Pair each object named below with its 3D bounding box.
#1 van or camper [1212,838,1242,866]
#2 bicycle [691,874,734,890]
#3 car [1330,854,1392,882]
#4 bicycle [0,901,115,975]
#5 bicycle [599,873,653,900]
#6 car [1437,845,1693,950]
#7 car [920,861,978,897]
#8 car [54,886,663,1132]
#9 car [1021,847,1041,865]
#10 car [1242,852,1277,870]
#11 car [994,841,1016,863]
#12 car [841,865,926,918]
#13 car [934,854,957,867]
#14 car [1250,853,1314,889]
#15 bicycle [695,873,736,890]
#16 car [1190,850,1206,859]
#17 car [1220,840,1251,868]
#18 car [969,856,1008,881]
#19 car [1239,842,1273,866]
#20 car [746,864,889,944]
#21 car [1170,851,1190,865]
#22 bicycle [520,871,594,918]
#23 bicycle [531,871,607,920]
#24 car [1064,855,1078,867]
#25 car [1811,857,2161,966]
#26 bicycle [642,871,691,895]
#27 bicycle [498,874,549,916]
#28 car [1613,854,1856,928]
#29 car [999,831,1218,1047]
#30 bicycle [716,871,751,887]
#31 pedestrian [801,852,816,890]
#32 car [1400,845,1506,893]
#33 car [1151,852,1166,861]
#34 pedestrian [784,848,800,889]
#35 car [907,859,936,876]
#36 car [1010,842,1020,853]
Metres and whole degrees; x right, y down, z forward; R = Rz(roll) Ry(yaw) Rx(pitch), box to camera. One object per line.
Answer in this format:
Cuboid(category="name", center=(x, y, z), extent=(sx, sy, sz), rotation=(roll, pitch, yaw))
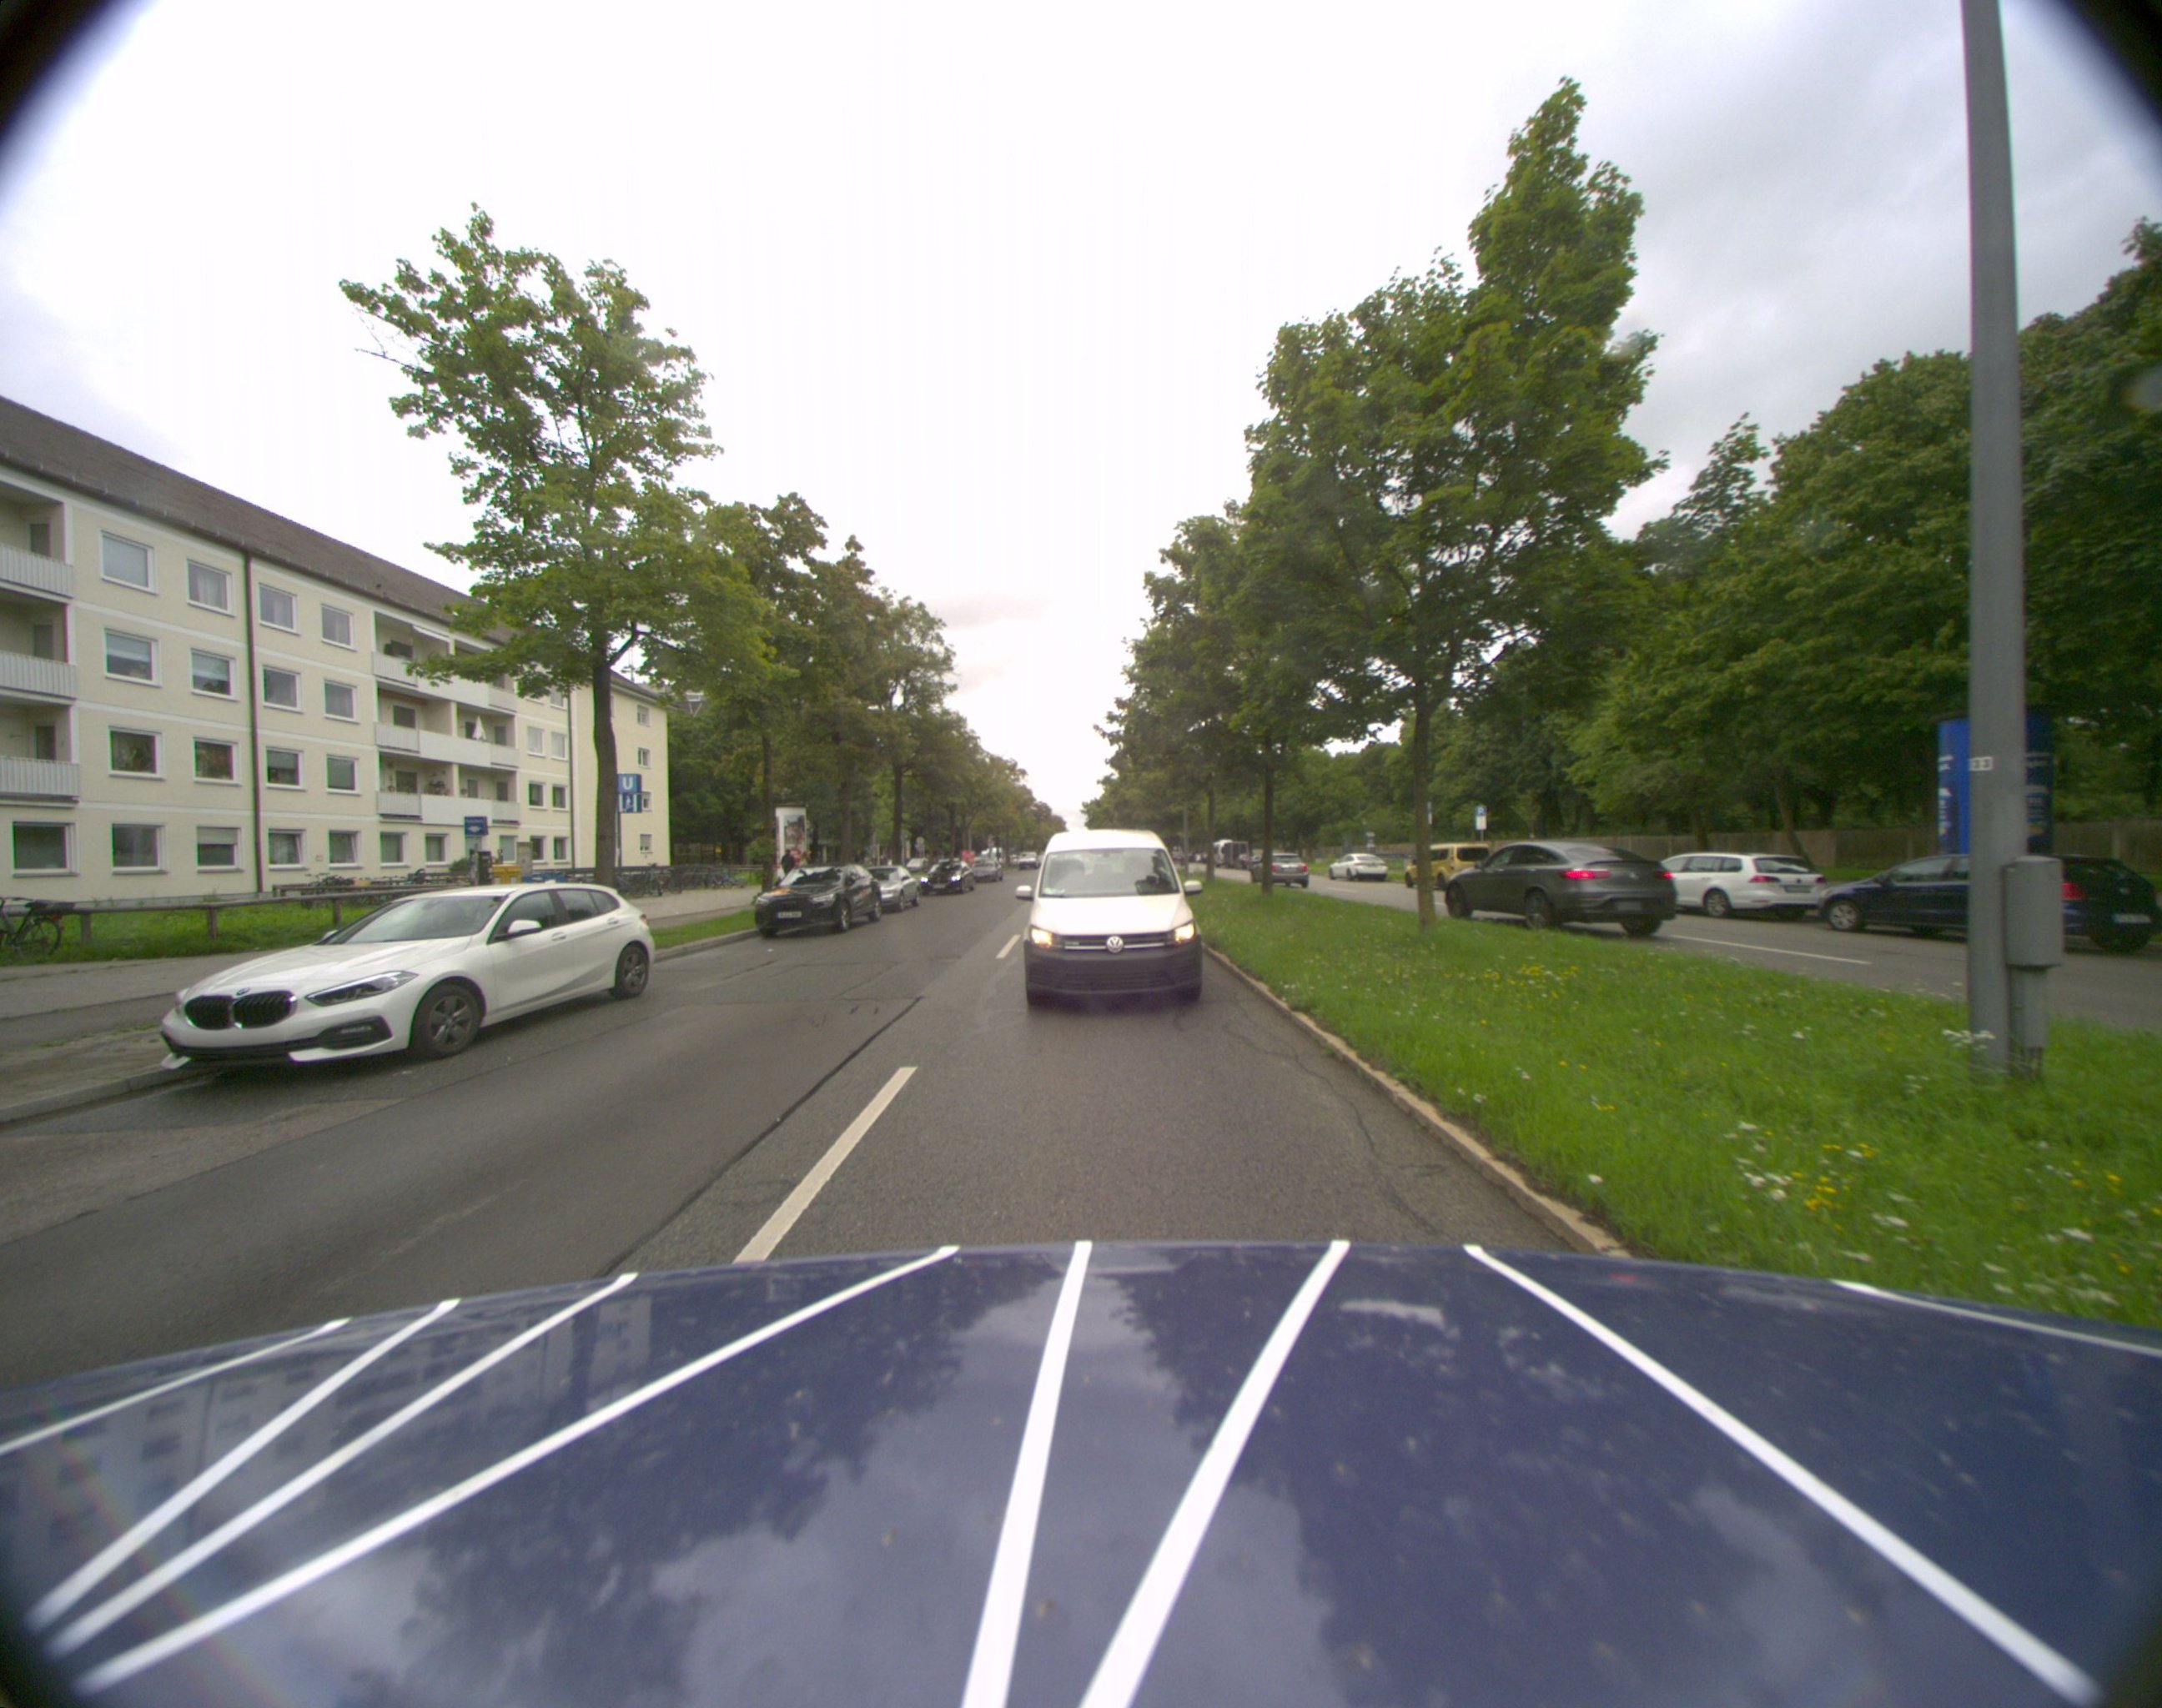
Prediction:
Cuboid(category="van or camper", center=(15.110, -0.234, 78.995), extent=(1.999, 2.791, 4.931), rotation=(0, 1, -2))
Cuboid(category="bicycle", center=(-16.152, 1.222, 33.339), extent=(1.599, 0.634, 0.498), rotation=(1, 1, -4))
Cuboid(category="car", center=(14.921, 0.711, 40.673), extent=(1.717, 1.434, 4.040), rotation=(0, 0, -2))
Cuboid(category="bicycle", center=(-16.651, 1.316, 11.892), extent=(2.032, 1.061, 0.663), rotation=(-2, 1, -4))
Cuboid(category="bicycle", center=(-16.404, 1.155, 27.394), extent=(1.599, 0.910, 0.498), rotation=(-2, 1, -4))
Cuboid(category="car", center=(8.473, 0.671, 13.897), extent=(1.826, 1.580, 4.501), rotation=(-1, 0, 1))
Cuboid(category="car", center=(-5.784, 1.045, 33.792), extent=(1.827, 1.371, 4.299), rotation=(-2, 0, -1))
Cuboid(category="car", center=(-6.307, 1.195, 7.536), extent=(1.826, 1.428, 4.287), rotation=(-3, 0, 1))
Cuboid(category="car", center=(-5.652, 0.243, 85.720), extent=(1.827, 1.939, 4.300), rotation=(-2, 1, 1))
Cuboid(category="car", center=(14.464, 0.573, 61.760), extent=(1.717, 1.401, 4.040), rotation=(0, 0, -2))
Cuboid(category="car", center=(-8.974, -0.311, 89.968), extent=(1.998, 2.441, 4.999), rotation=(-2, 1, 1))
Cuboid(category="car", center=(-6.015, 1.091, 23.575), extent=(1.617, 1.371, 3.926), rotation=(-2, 0, -1))
Cuboid(category="car", center=(-15.786, 0.704, 88.467), extent=(1.827, 1.460, 4.300), rotation=(-1, 0, 1))
Cuboid(category="car", center=(8.399, 0.668, 32.081), extent=(1.722, 1.374, 3.767), rotation=(1, 0, 1))
Cuboid(category="bicycle", center=(-16.428, 1.226, 34.173), extent=(1.599, 0.691, 0.498), rotation=(-1, 1, -4))
Cuboid(category="car", center=(18.462, 0.083, 119.869), extent=(1.717, 1.401, 4.040), rotation=(0, 0, -2))
Cuboid(category="car", center=(15.019, -0.016, 74.271), extent=(1.999, 2.576, 4.499), rotation=(0, 1, -2))
Cuboid(category="car", center=(-5.781, 0.876, 47.779), extent=(1.827, 1.460, 4.300), rotation=(-2, 0, 1))
Cuboid(category="car", center=(15.272, -0.048, 66.547), extent=(1.998, 2.002, 3.999), rotation=(-1, 1, 0))
Cuboid(category="car", center=(-5.967, 1.064, 17.757), extent=(1.826, 1.502, 4.157), rotation=(-2, 0, 0))
Cuboid(category="car", center=(11.993, 0.505, 92.521), extent=(1.866, 1.659, 4.500), rotation=(1, 0, 0))
Cuboid(category="bicycle", center=(-14.503, 1.098, 21.110), extent=(0.545, 1.182, 2.076), rotation=(-1, 1, 1))
Cuboid(category="bicycle", center=(-13.602, 1.076, 20.245), extent=(0.545, 1.182, 2.076), rotation=(-1, 1, 1))
Cuboid(category="car", center=(-1.417, 0.978, 108.487), extent=(1.984, 1.591, 4.402), rotation=(1, 0, 1))
Cuboid(category="car", center=(14.584, 0.807, 12.291), extent=(1.826, 1.438, 3.787), rotation=(1, 0, -2))
Cuboid(category="bicycle", center=(-16.277, 1.125, 29.859), extent=(1.599, 0.910, 0.498), rotation=(0, 1, -4))
Cuboid(category="bicycle", center=(-15.722, 1.136, 21.462), extent=(0.466, 1.110, 1.253), rotation=(-1, 1, 1))
Cuboid(category="car", center=(14.814, 0.757, 17.617), extent=(1.826, 1.461, 4.300), rotation=(0, 0, -2))
Cuboid(category="car", center=(0.241, 0.705, 8.727), extent=(1.772, 1.742, 4.545), rotation=(-3, 1, 0))
Cuboid(category="bicycle", center=(-15.997, 1.167, 34.995), extent=(1.392, 0.709, 0.498), rotation=(1, 1, -4))
Cuboid(category="pedestrian", center=(-11.801, 0.718, 32.860), extent=(0.560, 1.595, 0.519), rotation=(-2, 1, -19))
Cuboid(category="car", center=(14.613, 0.537, 30.177), extent=(1.862, 1.761, 4.533), rotation=(0, 0, -2))
Cuboid(category="car", center=(12.198, 0.401, 120.314), extent=(1.866, 1.448, 4.500), rotation=(1, 0, 0))
Cuboid(category="pedestrian", center=(-12.461, 0.613, 32.765), extent=(0.560, 1.745, 0.656), rotation=(-2, 1, -19))
Cuboid(category="car", center=(-15.728, 1.314, 74.984), extent=(1.827, 1.460, 4.300), rotation=(-2, 0, 1))
Cuboid(category="car", center=(-15.990, -1.569, 184.669), extent=(1.999, 2.440, 4.999), rotation=(-1, 1, -1))
